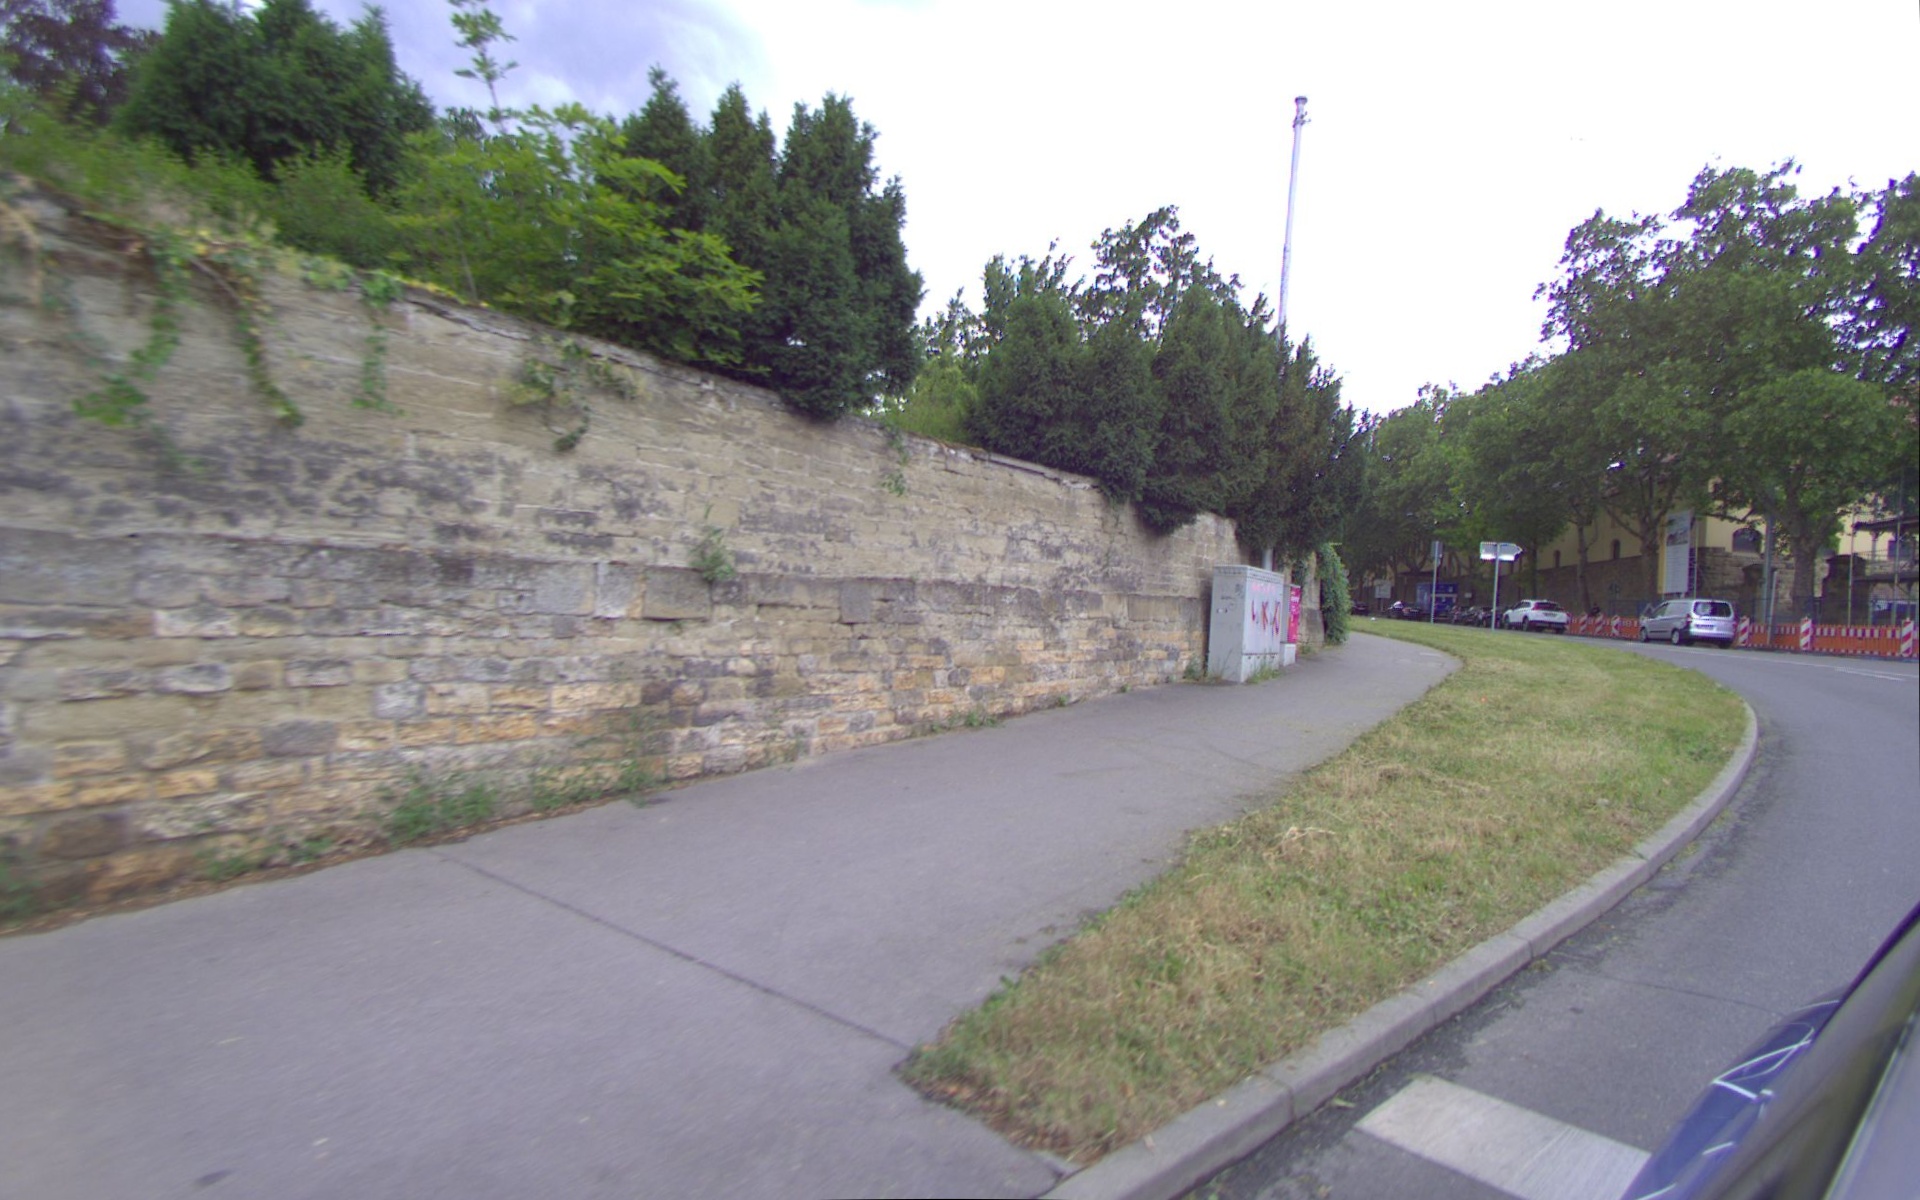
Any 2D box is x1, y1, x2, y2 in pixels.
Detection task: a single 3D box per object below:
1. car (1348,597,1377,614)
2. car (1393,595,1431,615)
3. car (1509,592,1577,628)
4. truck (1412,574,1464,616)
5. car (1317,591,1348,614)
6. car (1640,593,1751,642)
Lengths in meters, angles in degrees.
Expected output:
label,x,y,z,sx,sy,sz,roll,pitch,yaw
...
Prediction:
label,x,y,z,sx,sy,sz,roll,pitch,yaw
car,38.771,0.551,97.514,1.679,1.443,4.235,4,1,11
car,35.594,0.384,79.845,1.781,1.490,4.830,2,1,13
car,29.942,0.499,52.137,1.771,1.631,4.489,4,1,14
truck,41.566,-0.466,88.196,2.187,3.459,7.226,1,1,10
car,28.597,0.183,77.746,1.546,1.630,3.642,4,1,11
car,26.846,0.587,37.107,1.671,1.634,4.070,1,1,11
